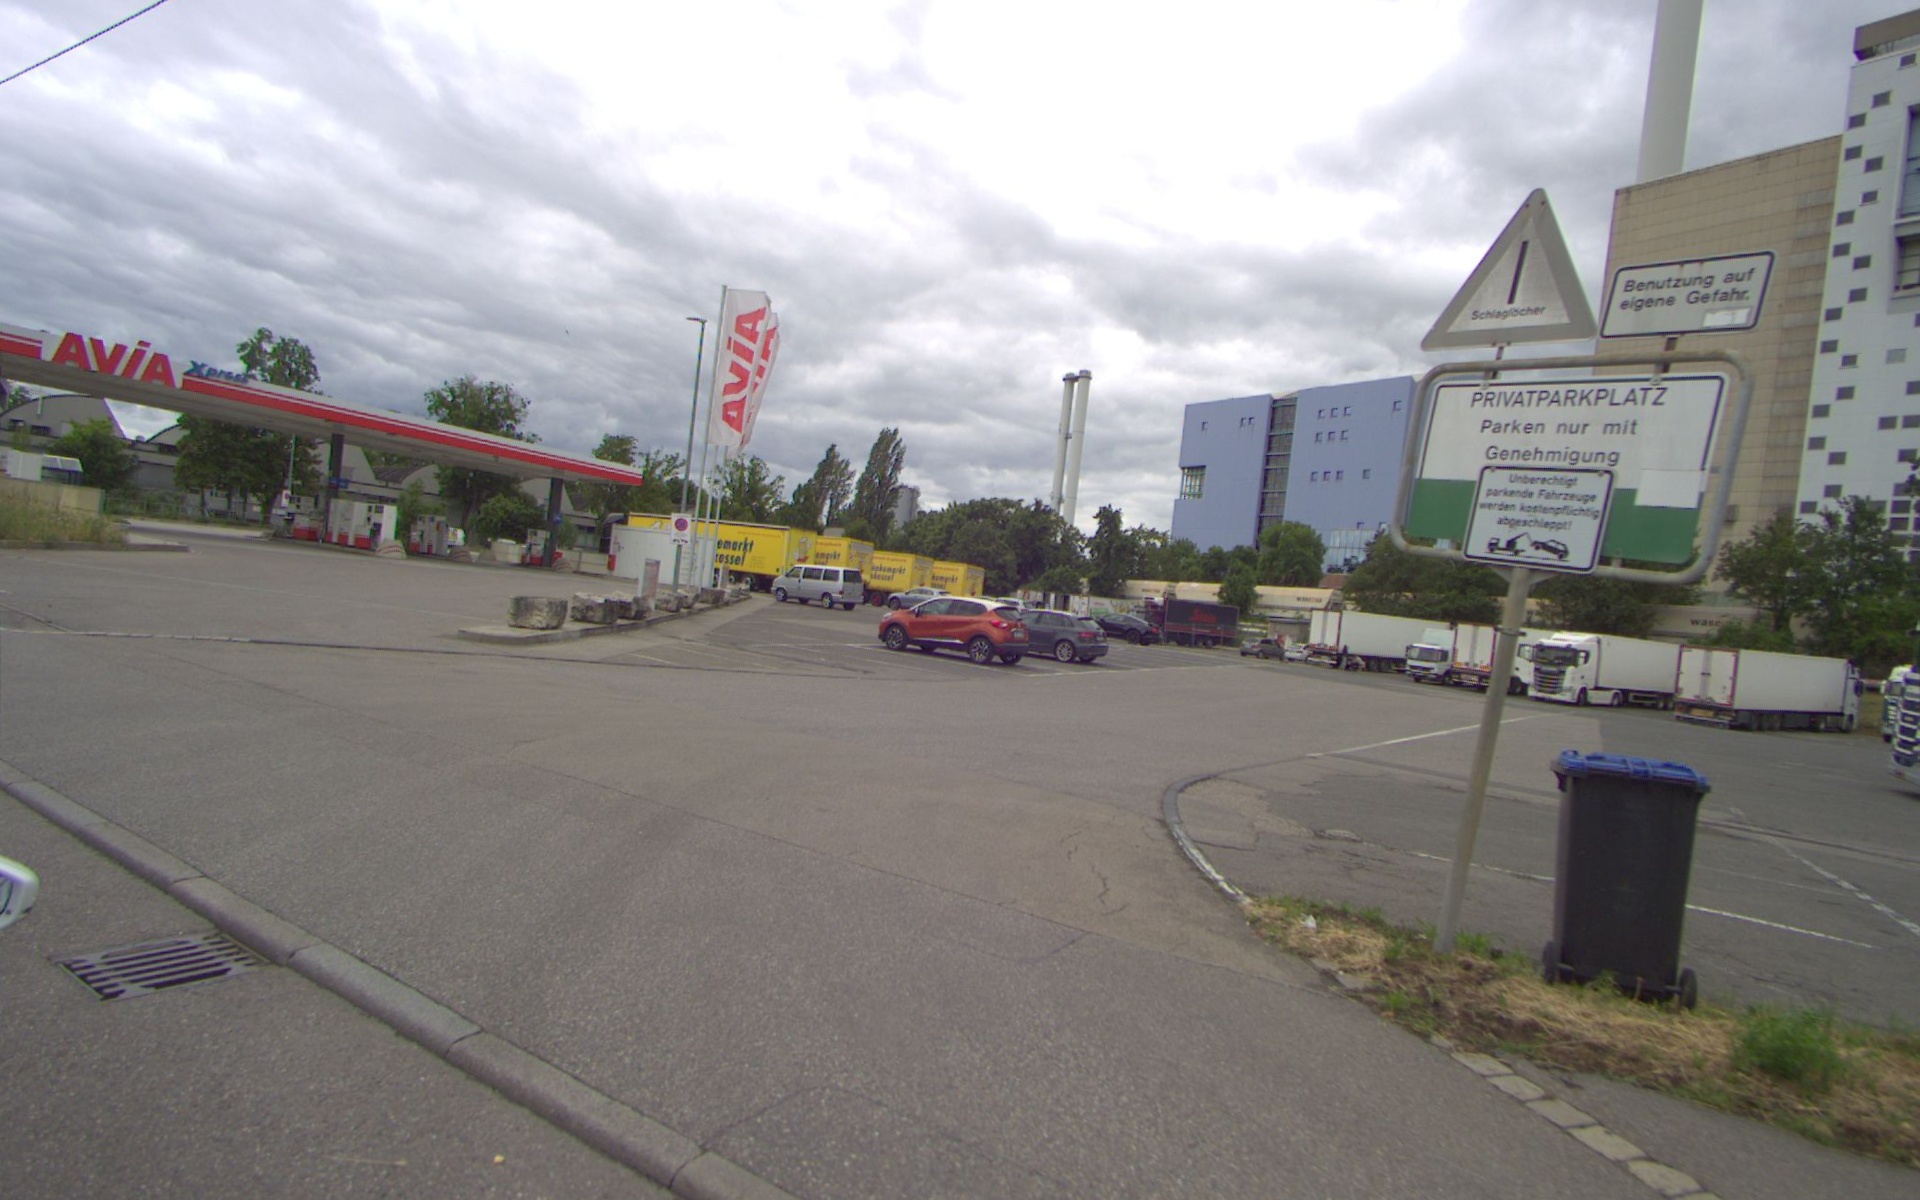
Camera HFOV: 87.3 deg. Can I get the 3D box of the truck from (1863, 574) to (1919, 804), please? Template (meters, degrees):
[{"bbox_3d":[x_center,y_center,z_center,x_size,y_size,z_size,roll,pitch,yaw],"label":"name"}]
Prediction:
[{"bbox_3d":[22.773,2.170,15.202,12.853,4.021,3.075,7,3,32],"label":"truck"}]

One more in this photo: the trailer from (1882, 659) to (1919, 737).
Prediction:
[{"bbox_3d":[58.668,6.179,57.429,18.302,4.008,3.612,7,1,-31],"label":"trailer"}]

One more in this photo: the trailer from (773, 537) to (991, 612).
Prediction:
[{"bbox_3d":[-6.238,-2.019,75.535,17.769,3.965,2.692,6,1,31],"label":"trailer"}]

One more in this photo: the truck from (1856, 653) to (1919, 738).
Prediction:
[{"bbox_3d":[51.009,5.252,52.745,7.177,4.015,3.682,6,1,-31],"label":"truck"}]

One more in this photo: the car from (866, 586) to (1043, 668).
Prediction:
[{"bbox_3d":[-0.163,0.672,25.927,4.145,1.591,1.766,7,2,31],"label":"car"}]

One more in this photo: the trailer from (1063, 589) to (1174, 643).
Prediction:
[{"bbox_3d":[17.143,1.774,108.240,12.458,4.356,3.527,7,0,-34],"label":"trailer"}]

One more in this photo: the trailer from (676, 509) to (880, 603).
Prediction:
[{"bbox_3d":[-11.975,-2.917,64.755,14.062,4.784,3.002,6,1,31],"label":"trailer"}]

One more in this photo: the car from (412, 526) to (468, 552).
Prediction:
[{"bbox_3d":[-42.793,-4.995,82.767,4.576,1.666,1.963,6,1,31],"label":"car"}]

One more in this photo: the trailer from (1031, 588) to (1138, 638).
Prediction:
[{"bbox_3d":[14.242,1.538,114.038,12.458,4.356,3.527,7,0,-34],"label":"trailer"}]

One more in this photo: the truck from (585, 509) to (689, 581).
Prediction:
[{"bbox_3d":[-21.105,-3.600,65.697,5.940,3.965,2.959,7,1,31],"label":"truck"}]

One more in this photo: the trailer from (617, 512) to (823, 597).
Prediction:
[{"bbox_3d":[-15.049,-2.917,62.049,14.062,3.965,3.002,6,1,31],"label":"trailer"}]

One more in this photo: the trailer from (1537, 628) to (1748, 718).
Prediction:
[{"bbox_3d":[43.378,4.748,63.434,18.306,4.141,3.612,7,1,-32],"label":"trailer"}]

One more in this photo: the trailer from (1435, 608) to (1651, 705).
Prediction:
[{"bbox_3d":[37.841,3.786,64.707,18.095,4.556,3.530,7,0,-31],"label":"trailer"}]

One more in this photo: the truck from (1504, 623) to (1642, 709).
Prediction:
[{"bbox_3d":[35.720,3.851,58.596,7.181,4.172,3.680,6,1,-32],"label":"truck"}]

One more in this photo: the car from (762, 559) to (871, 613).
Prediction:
[{"bbox_3d":[-6.841,-0.682,47.812,4.868,1.936,1.985,7,1,31],"label":"car"}]

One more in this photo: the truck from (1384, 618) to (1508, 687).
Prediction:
[{"bbox_3d":[31.736,3.463,65.614,7.178,3.602,3.681,7,1,-31],"label":"truck"}]

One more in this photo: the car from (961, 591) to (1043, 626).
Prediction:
[{"bbox_3d":[2.617,0.520,62.600,4.611,1.621,1.985,7,1,31],"label":"car"}]

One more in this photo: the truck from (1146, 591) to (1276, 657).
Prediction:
[{"bbox_3d":[21.127,2.071,84.044,11.856,4.344,2.848,7,0,-33],"label":"truck"}]

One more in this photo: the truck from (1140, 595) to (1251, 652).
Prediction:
[{"bbox_3d":[23.143,2.339,98.375,11.856,4.344,2.848,7,0,-33],"label":"truck"}]

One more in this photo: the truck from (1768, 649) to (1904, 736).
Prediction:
[{"bbox_3d":[51.798,5.479,59.454,7.178,4.225,3.681,6,1,-31],"label":"truck"}]

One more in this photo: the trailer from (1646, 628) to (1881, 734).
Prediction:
[{"bbox_3d":[43.979,4.548,54.597,18.302,4.225,3.612,7,1,-31],"label":"trailer"}]

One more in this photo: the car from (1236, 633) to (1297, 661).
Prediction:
[{"bbox_3d":[23.665,3.622,77.612,4.647,1.621,1.970,7,1,-36],"label":"car"}]

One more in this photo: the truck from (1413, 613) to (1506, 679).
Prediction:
[{"bbox_3d":[39.989,3.677,80.492,6.589,4.487,3.517,7,0,-34],"label":"truck"}]

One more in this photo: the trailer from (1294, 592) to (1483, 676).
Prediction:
[{"bbox_3d":[32.442,2.720,75.328,18.113,4.556,3.527,7,0,-34],"label":"trailer"}]

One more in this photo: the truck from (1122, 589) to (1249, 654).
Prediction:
[{"bbox_3d":[19.542,1.934,86.696,11.856,4.344,2.848,7,0,-33],"label":"truck"}]

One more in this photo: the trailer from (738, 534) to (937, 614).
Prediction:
[{"bbox_3d":[-9.148,-1.956,72.836,15.462,4.315,3.022,6,1,31],"label":"trailer"}]

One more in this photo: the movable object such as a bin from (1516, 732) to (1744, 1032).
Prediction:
[{"bbox_3d":[3.024,1.229,4.622,0.651,1.095,0.716,7,1,25],"label":"movable object such as a bin"}]

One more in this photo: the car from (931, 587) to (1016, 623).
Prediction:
[{"bbox_3d":[0.805,0.289,60.799,4.611,1.621,1.985,7,1,31],"label":"car"}]

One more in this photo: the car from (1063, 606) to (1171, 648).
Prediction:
[{"bbox_3d":[7.487,1.270,48.071,4.606,1.386,1.985,7,1,31],"label":"car"}]

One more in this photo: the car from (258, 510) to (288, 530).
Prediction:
[{"bbox_3d":[-63.825,-7.453,93.408,1.895,1.541,4.019,5,2,-39],"label":"car"}]

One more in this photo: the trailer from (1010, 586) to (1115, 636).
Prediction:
[{"bbox_3d":[12.068,1.342,117.454,12.458,4.356,3.642,7,0,-34],"label":"trailer"}]

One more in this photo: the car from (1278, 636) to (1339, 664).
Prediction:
[{"bbox_3d":[26.637,3.825,76.758,4.647,1.621,1.970,7,1,-36],"label":"car"}]

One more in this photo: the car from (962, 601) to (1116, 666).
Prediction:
[{"bbox_3d":[2.334,0.964,29.979,4.145,1.409,1.765,7,2,31],"label":"car"}]
